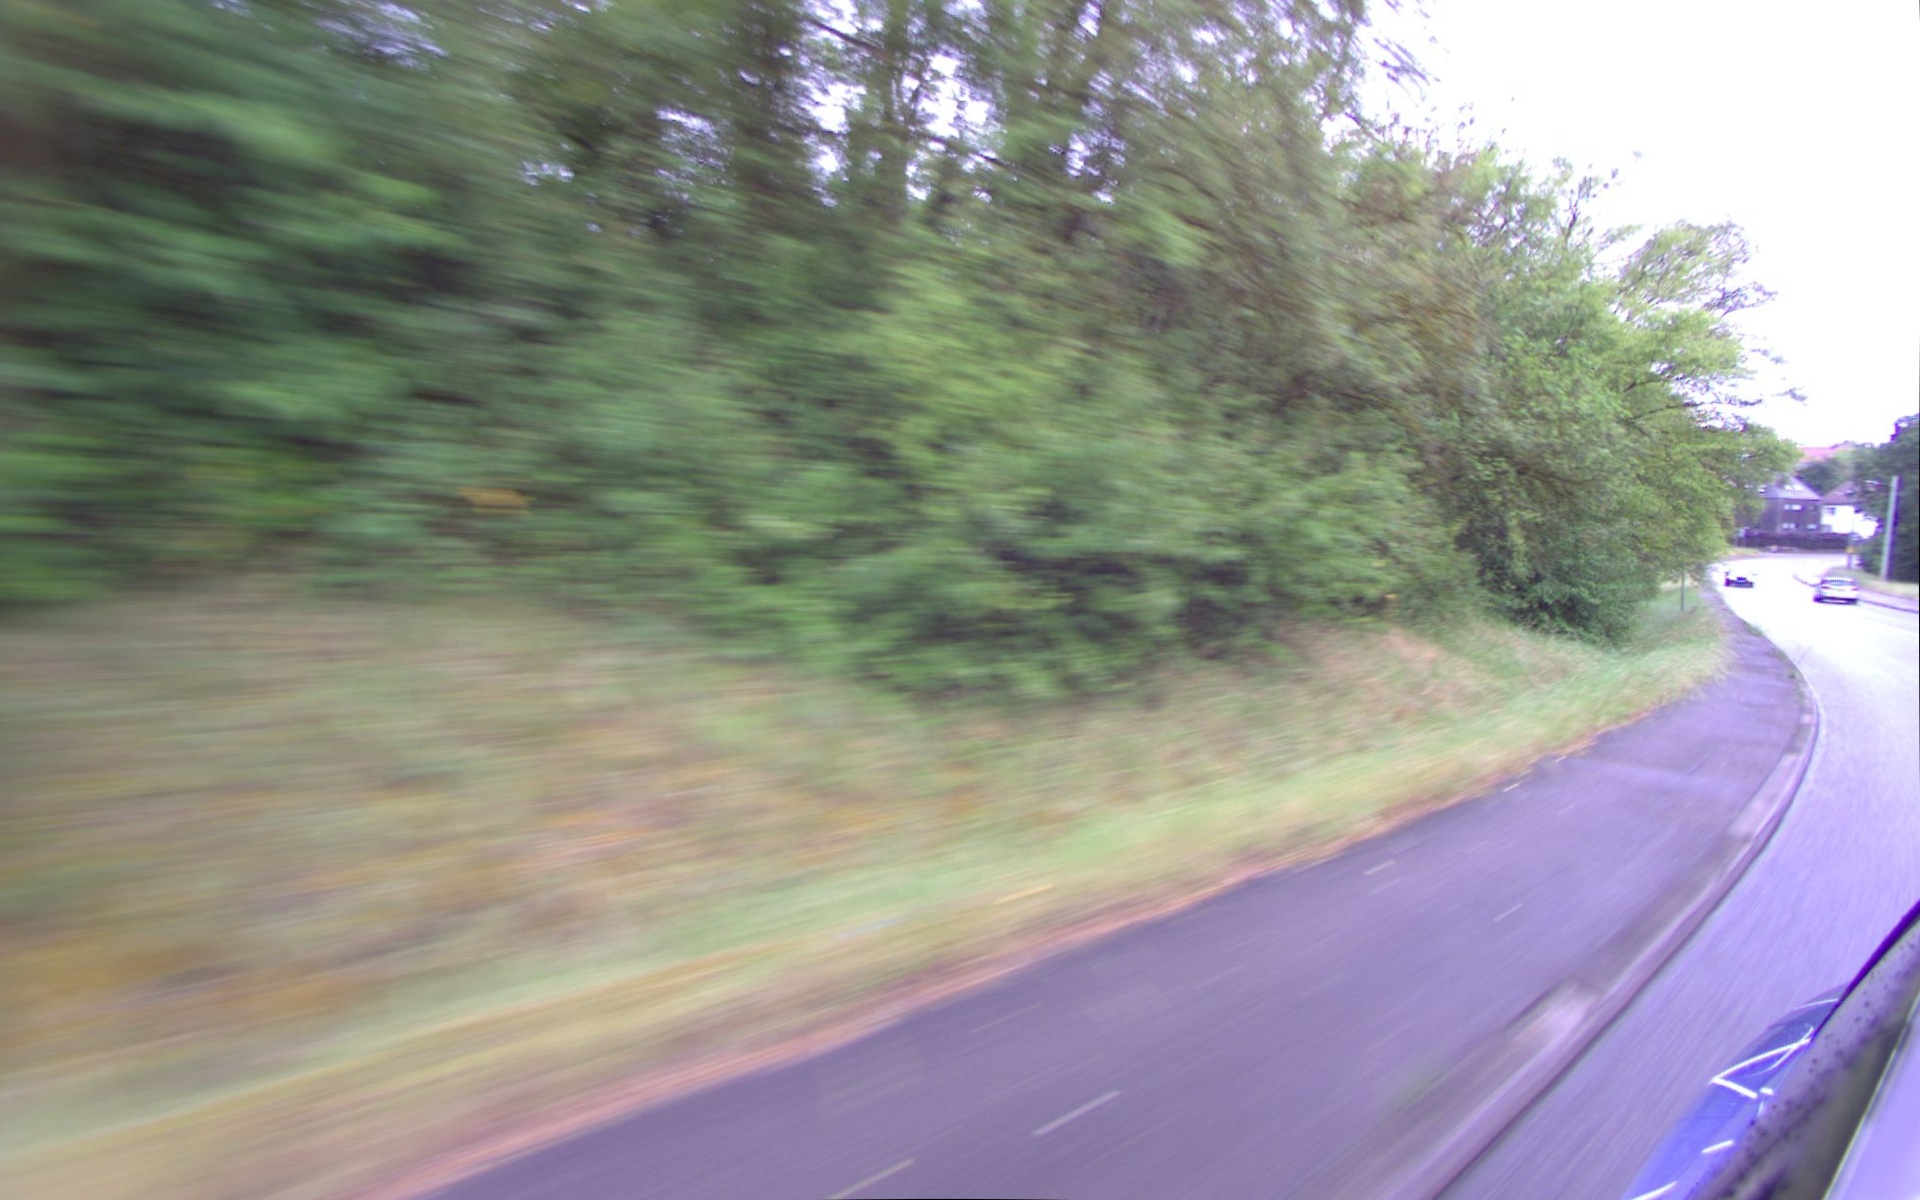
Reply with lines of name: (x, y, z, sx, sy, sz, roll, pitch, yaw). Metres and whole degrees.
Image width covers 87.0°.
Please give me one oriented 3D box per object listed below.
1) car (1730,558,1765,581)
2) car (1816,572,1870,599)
car: (61.728, -2.419, 79.284, 1.991, 1.737, 3.944, 4, 4, 39)
car: (51.413, -0.870, 58.998, 1.775, 1.448, 4.419, 4, 3, 35)
